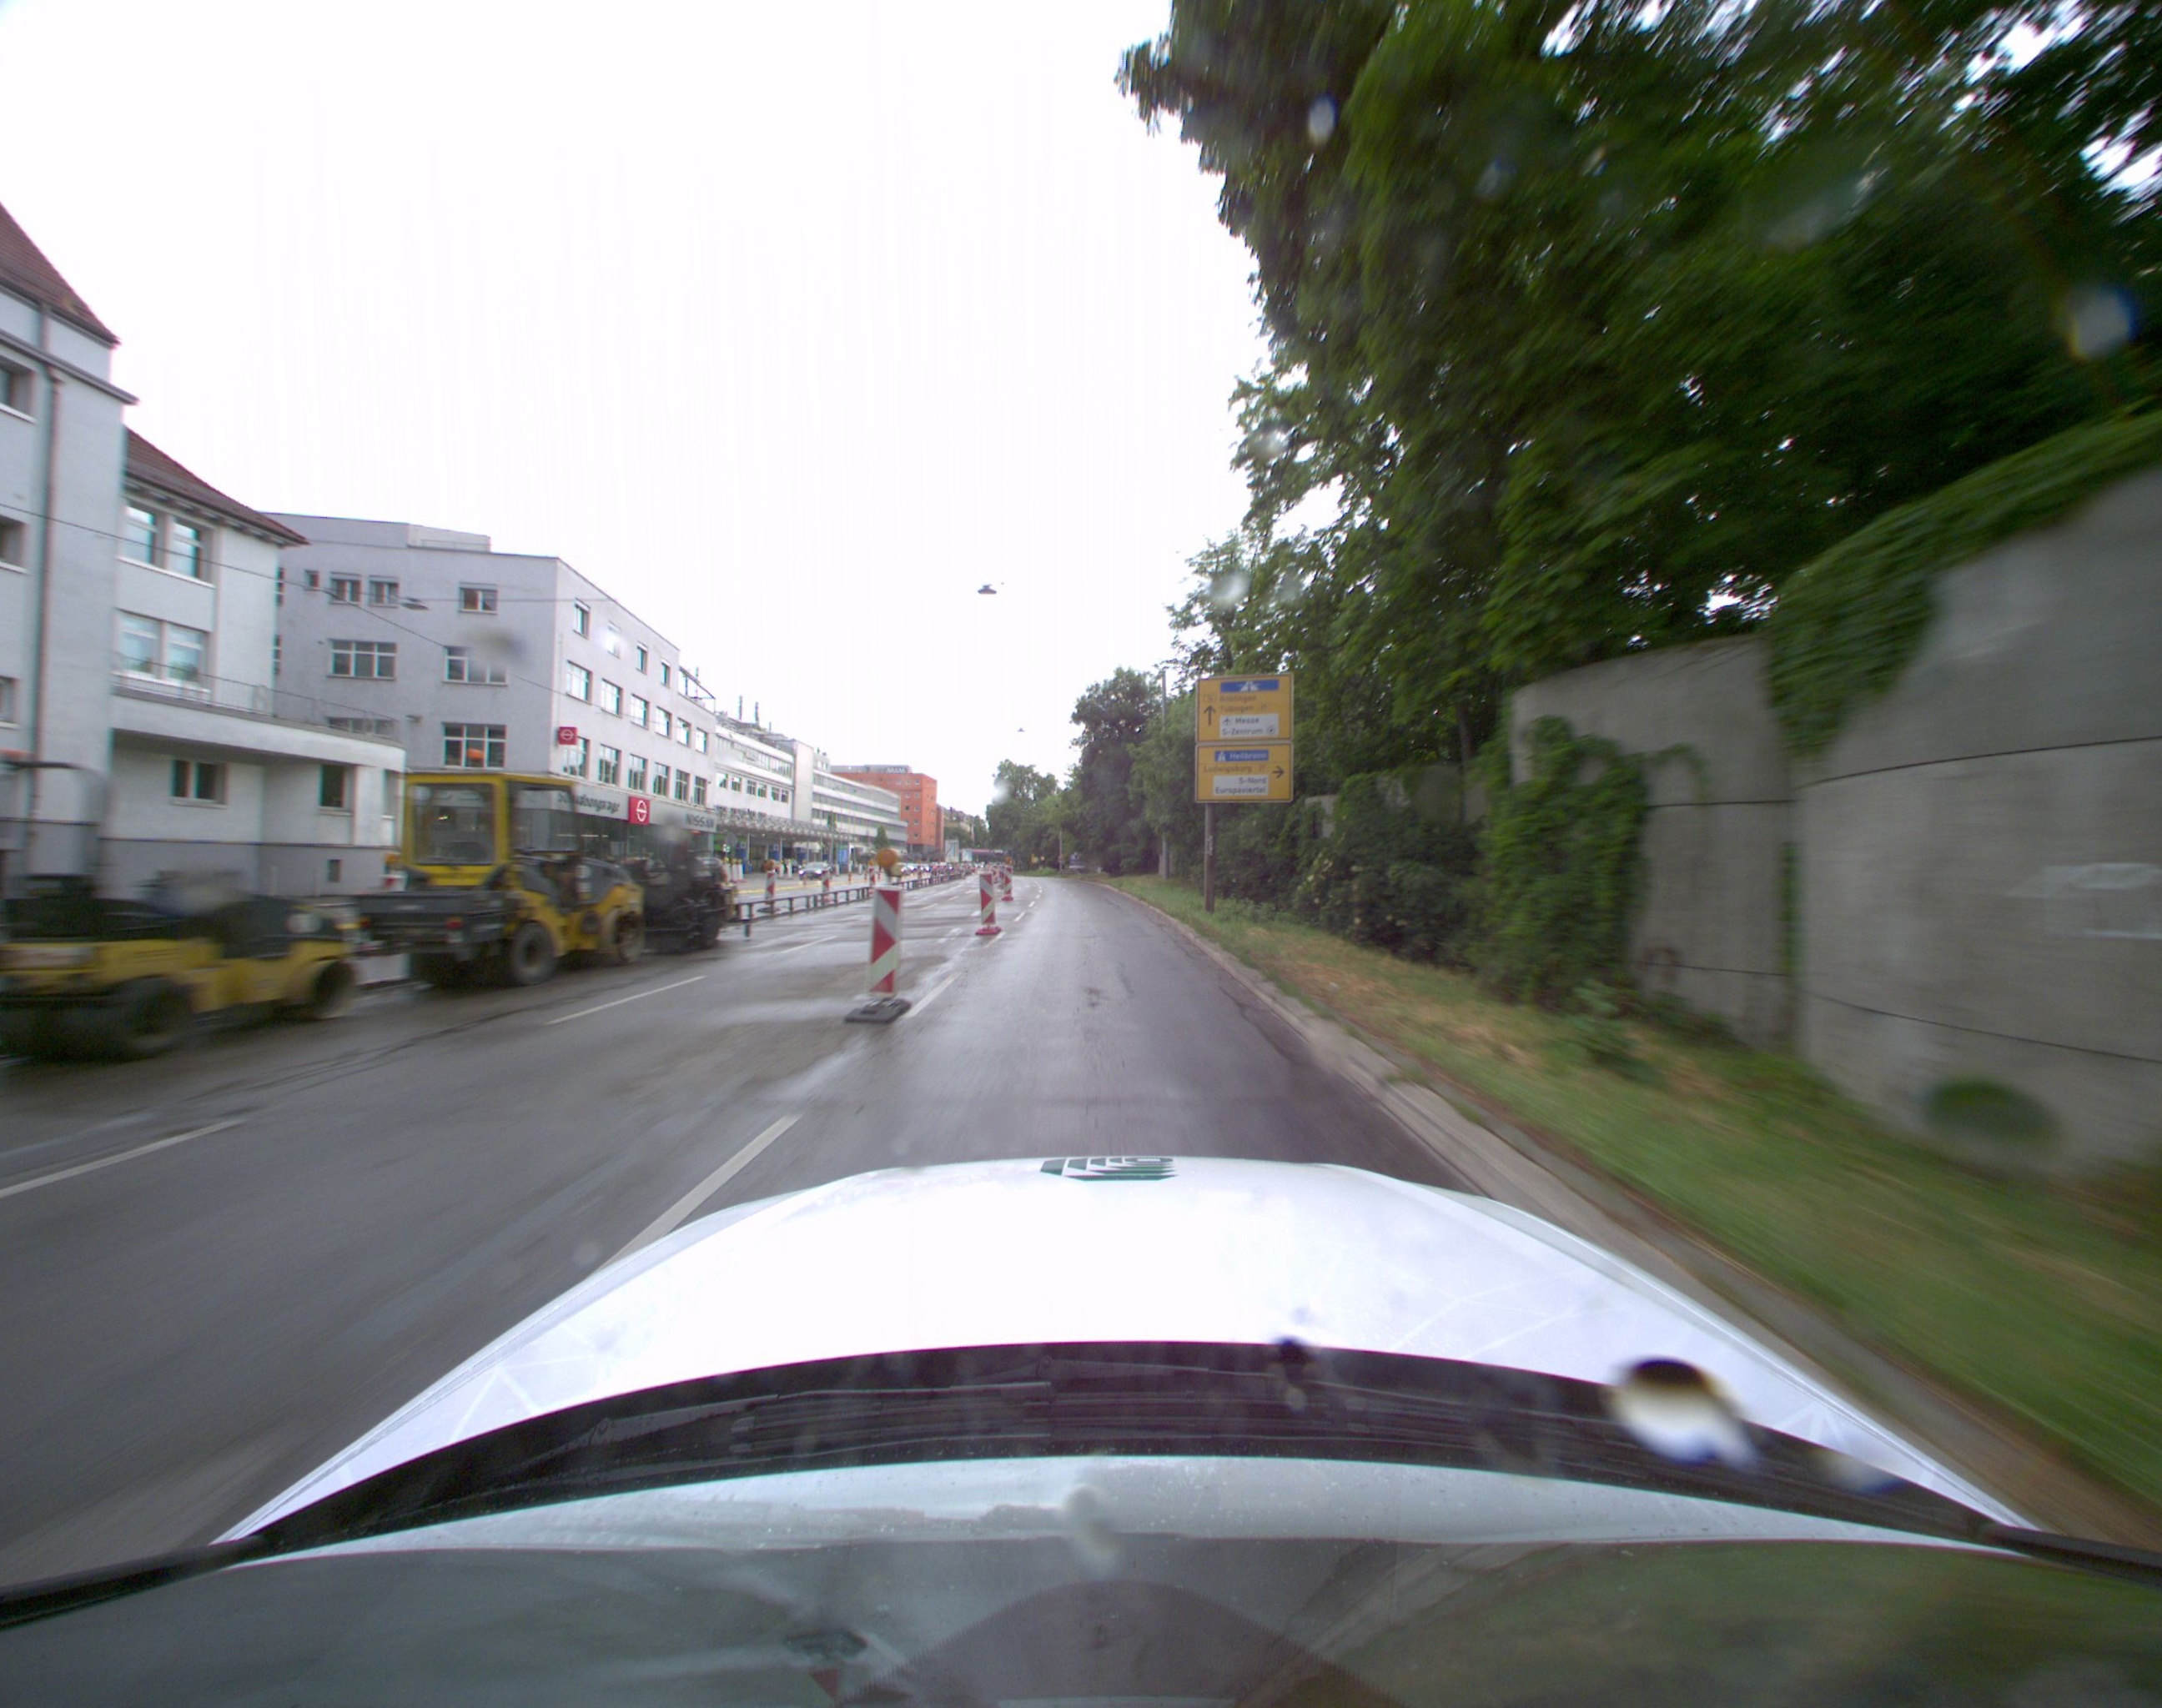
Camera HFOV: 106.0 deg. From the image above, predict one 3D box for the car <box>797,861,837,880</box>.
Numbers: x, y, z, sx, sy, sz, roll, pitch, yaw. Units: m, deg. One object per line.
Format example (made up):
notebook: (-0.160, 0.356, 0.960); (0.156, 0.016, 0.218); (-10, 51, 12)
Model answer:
car: (-20.735, 1.304, 64.208); (1.756, 1.406, 4.250); (0, -1, 0)

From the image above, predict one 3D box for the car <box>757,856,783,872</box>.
car: (-35.436, 1.164, 92.747); (1.813, 1.655, 3.957); (3, -1, -35)

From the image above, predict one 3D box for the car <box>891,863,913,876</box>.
car: (-20.338, 1.751, 92.653); (1.776, 1.381, 4.449); (0, 0, -4)

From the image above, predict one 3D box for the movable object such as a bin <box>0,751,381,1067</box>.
movable object such as a bin: (-8.143, 0.426, 7.419); (1.406, 2.401, 2.405); (-1, 0, 0)

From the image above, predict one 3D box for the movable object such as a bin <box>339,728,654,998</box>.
movable object such as a bin: (-7.554, 0.107, 11.018); (1.460, 3.008, 3.725); (-1, 0, 1)

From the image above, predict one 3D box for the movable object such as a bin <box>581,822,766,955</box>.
movable object such as a bin: (-7.321, 0.568, 15.020); (1.710, 2.150, 3.348); (-1, 0, -1)
